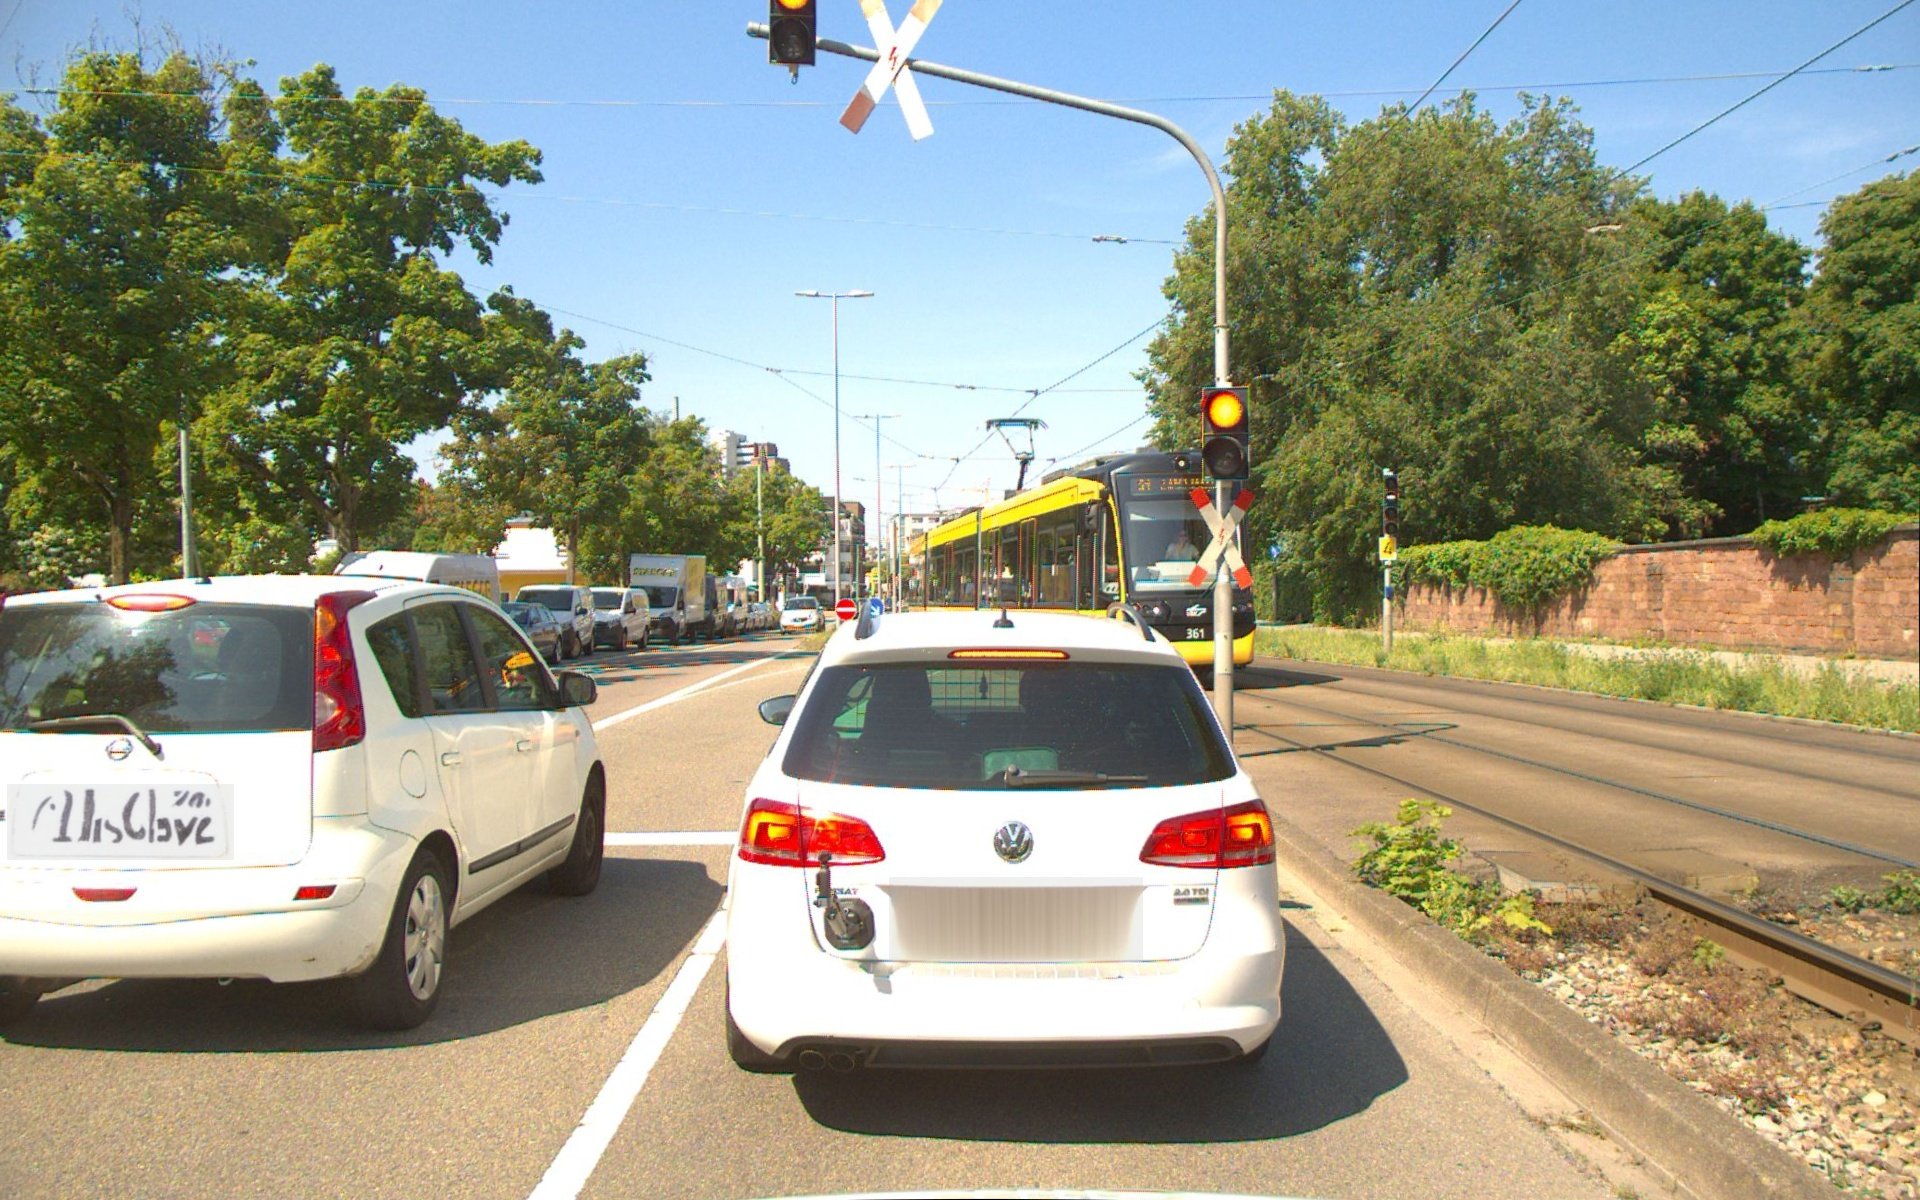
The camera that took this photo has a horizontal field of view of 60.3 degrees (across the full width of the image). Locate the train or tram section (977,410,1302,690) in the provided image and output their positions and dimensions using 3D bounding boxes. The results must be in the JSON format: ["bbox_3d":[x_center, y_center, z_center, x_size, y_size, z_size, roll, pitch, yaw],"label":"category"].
[{"bbox_3d":[2.621,-0.745,29.543,2.817,3.923,12.369,-1,0,-8],"label":"train or tram section"}]

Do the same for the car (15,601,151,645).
[{"bbox_3d":[-37.810,0.986,71.382,4.698,1.819,2.062,1,0,-5],"label":"car"}]

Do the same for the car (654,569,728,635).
[{"bbox_3d":[-11.008,0.068,68.153,2.079,2.560,5.733,1,0,0],"label":"car"}]

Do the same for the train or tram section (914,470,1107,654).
[{"bbox_3d":[0.921,-0.851,41.816,2.817,3.923,12.369,-1,0,-8],"label":"train or tram section"}]

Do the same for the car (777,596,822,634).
[{"bbox_3d":[-7.038,0.635,72.798,1.642,1.580,3.579,-3,0,-1],"label":"car"}]

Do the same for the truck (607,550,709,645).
[{"bbox_3d":[-10.885,-0.108,60.155,2.371,3.205,6.996,1,0,0],"label":"truck"}]

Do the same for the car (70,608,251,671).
[{"bbox_3d":[-21.108,1.027,43.789,3.909,1.440,1.728,-2,0,-5],"label":"car"}]

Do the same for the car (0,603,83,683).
[{"bbox_3d":[-21.075,0.963,35.124,3.909,1.638,1.728,-2,0,-5],"label":"car"}]

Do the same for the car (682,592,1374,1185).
[{"bbox_3d":[0.147,0.717,6.193,1.726,1.455,3.999,-1,0,-1],"label":"car"}]

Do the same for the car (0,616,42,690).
[{"bbox_3d":[-20.726,1.123,32.861,3.909,1.440,1.728,-2,0,-5],"label":"car"}]

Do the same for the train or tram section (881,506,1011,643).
[{"bbox_3d":[-0.639,-0.754,53.155,2.817,3.923,10.519,-1,0,-8],"label":"train or tram section"}]

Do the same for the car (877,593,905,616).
[{"bbox_3d":[-4.675,0.285,112.312,1.670,1.499,4.589,-1,0,0],"label":"car"}]

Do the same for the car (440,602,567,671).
[{"bbox_3d":[-10.547,0.804,38.505,1.826,1.440,4.278,1,0,-1],"label":"car"}]

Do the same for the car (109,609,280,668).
[{"bbox_3d":[-21.287,1.059,46.117,3.909,1.440,1.728,-2,0,-5],"label":"car"}]

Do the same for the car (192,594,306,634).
[{"bbox_3d":[-34.895,0.683,81.305,4.698,1.819,2.062,1,0,-5],"label":"car"}]

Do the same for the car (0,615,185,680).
[{"bbox_3d":[-21.731,1.169,41.248,3.909,1.440,1.728,-2,0,-5],"label":"car"}]

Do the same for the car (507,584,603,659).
[{"bbox_3d":[-10.976,0.533,45.146,1.828,1.900,5.068,1,0,-6],"label":"car"}]

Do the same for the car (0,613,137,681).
[{"bbox_3d":[-21.637,1.118,38.638,3.909,1.440,1.728,-2,0,-5],"label":"car"}]

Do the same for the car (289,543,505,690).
[{"bbox_3d":[-10.744,0.277,32.134,2.079,2.560,5.817,1,0,1],"label":"car"}]

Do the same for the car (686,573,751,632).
[{"bbox_3d":[-10.985,0.103,75.589,2.079,2.560,5.733,1,0,0],"label":"car"}]

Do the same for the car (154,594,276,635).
[{"bbox_3d":[-34.367,0.671,76.410,4.698,1.819,2.062,1,0,-5],"label":"car"}]

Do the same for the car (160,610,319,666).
[{"bbox_3d":[-21.275,1.104,48.935,3.909,1.440,1.728,-2,0,-5],"label":"car"}]

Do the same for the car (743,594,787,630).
[{"bbox_3d":[-10.758,0.653,91.514,1.826,1.900,5.412,1,0,-1],"label":"car"}]

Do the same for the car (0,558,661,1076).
[{"bbox_3d":[-2.551,0.649,7.309,1.628,1.575,4.546,0,0,0],"label":"car"}]

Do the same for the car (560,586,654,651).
[{"bbox_3d":[-10.964,0.531,51.730,1.826,1.900,5.412,1,0,-1],"label":"car"}]

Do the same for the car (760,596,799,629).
[{"bbox_3d":[-10.706,0.717,98.431,1.826,1.900,5.412,1,0,-1],"label":"car"}]
